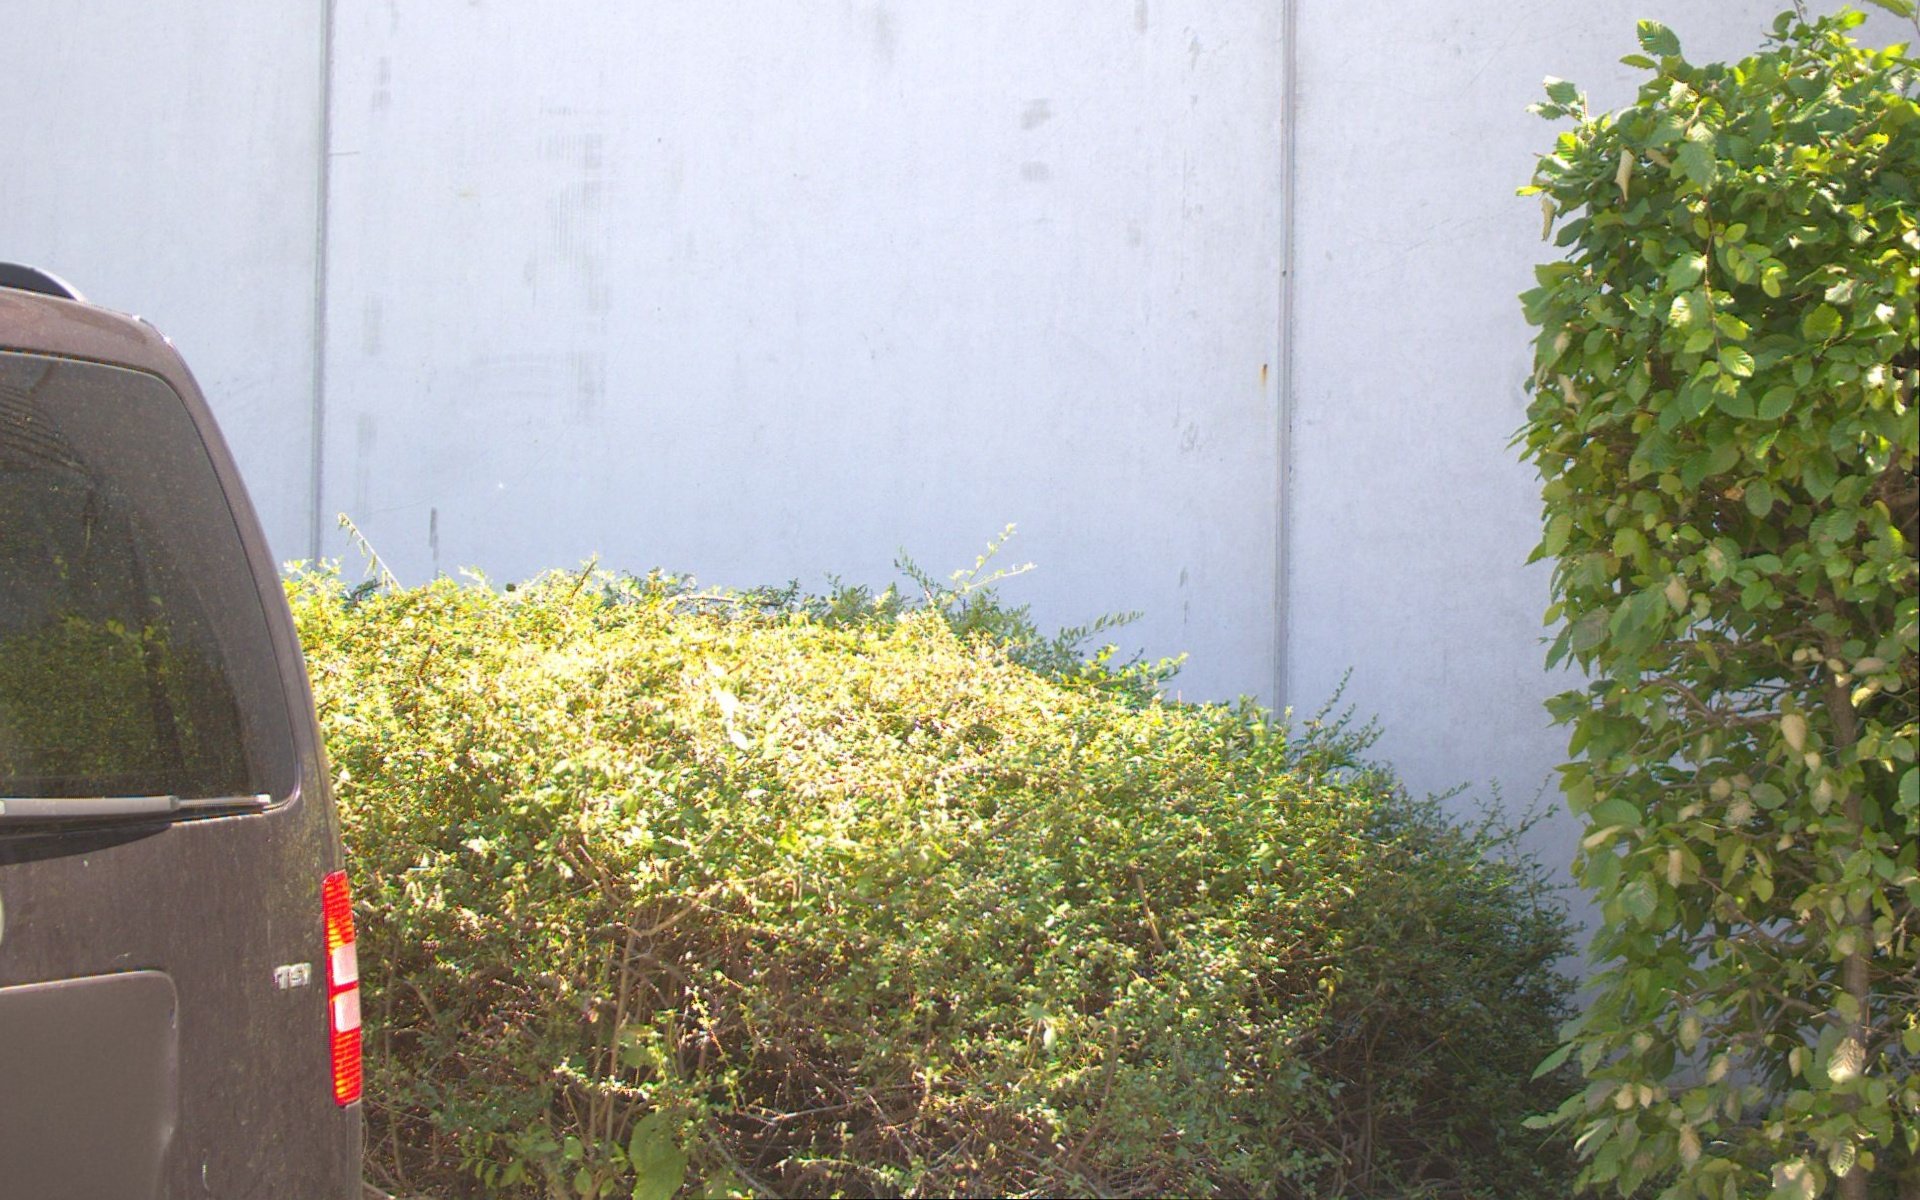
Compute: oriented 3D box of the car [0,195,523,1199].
[{"bbox_3d":[-2.715,0.478,4.823,4.066,1.877,1.675,1,1,34],"label":"car"}]
